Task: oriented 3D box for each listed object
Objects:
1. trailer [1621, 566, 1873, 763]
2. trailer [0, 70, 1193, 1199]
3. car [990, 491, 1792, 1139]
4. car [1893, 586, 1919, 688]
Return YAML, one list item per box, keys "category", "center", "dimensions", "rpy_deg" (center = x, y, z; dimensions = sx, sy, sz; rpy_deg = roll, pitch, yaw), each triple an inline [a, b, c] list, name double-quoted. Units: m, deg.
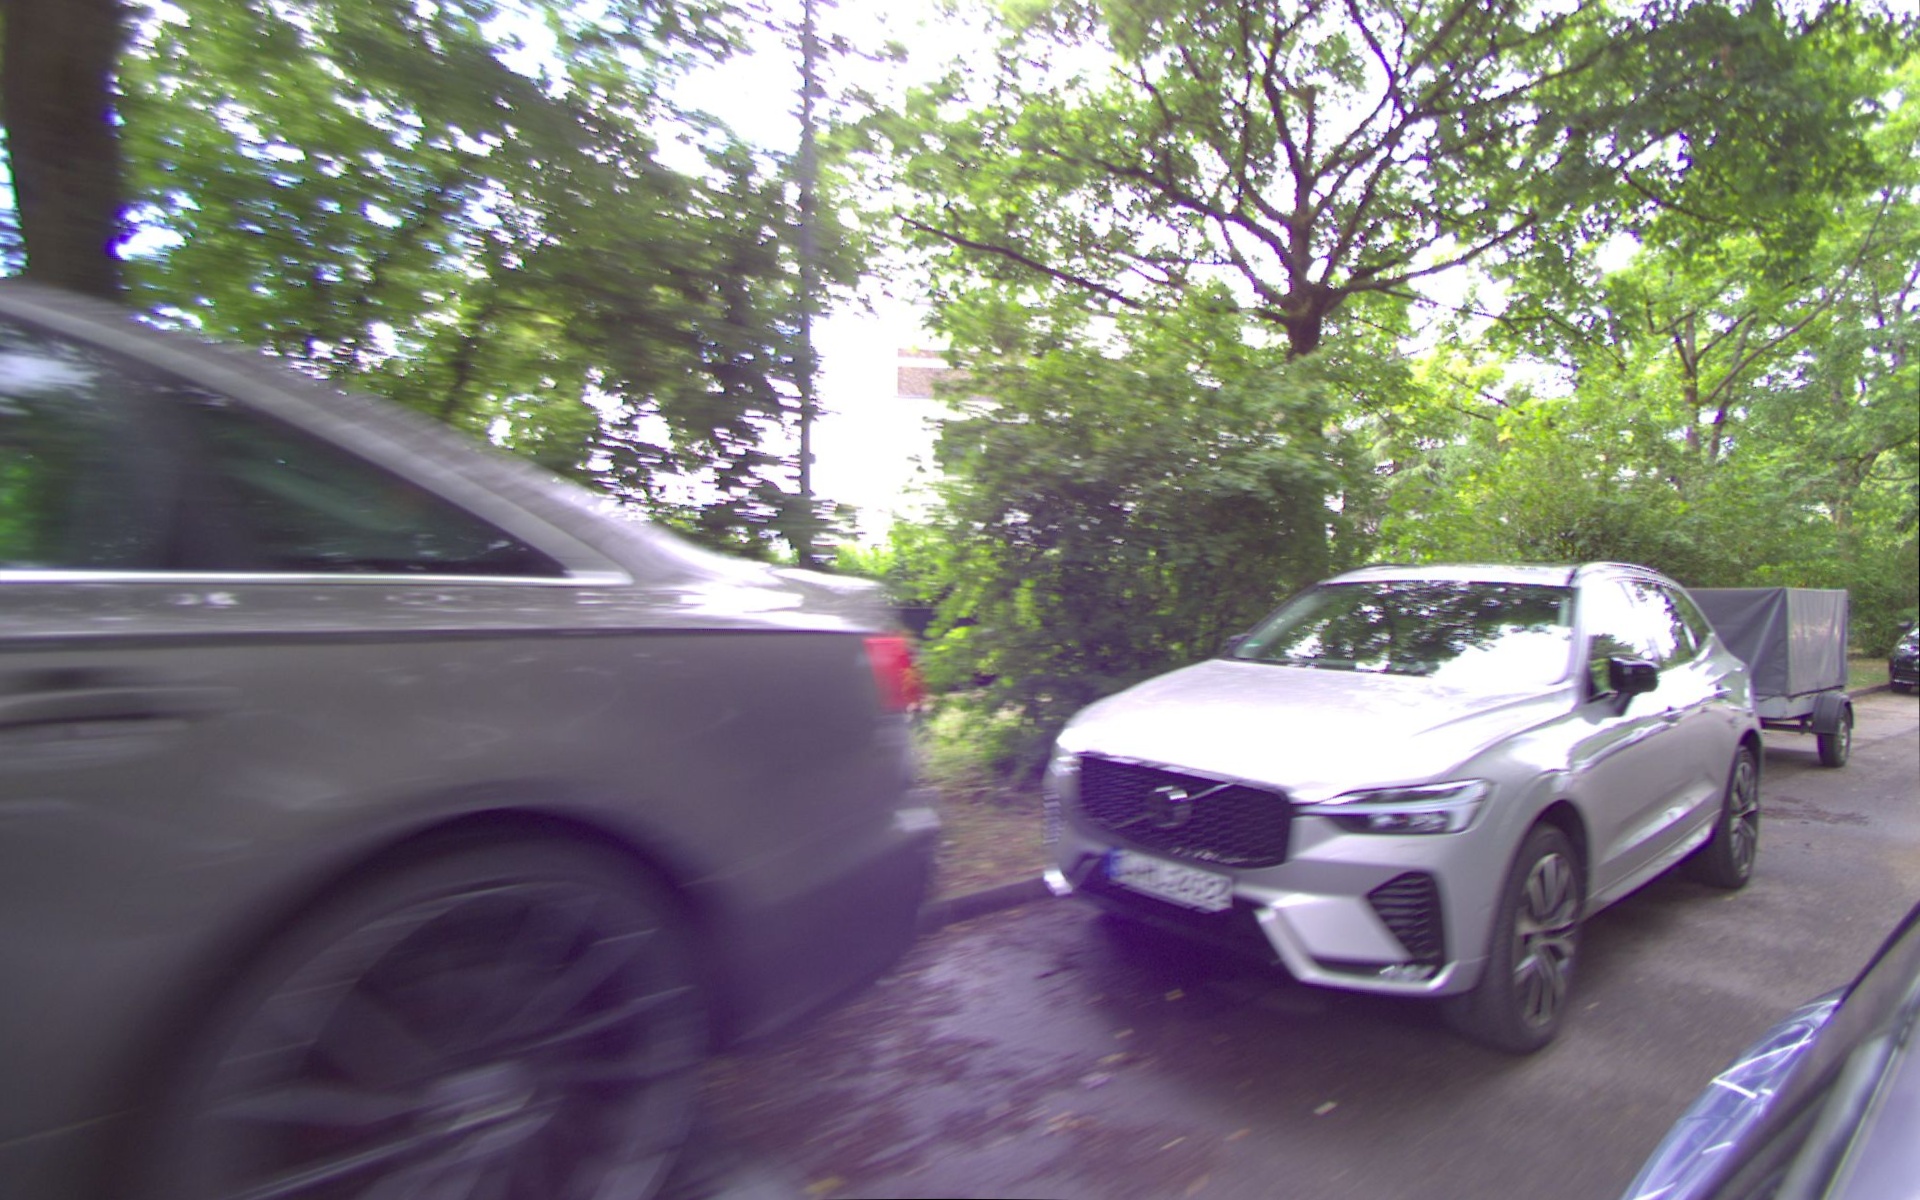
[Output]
- category: "trailer"
  center: [7.397, 0.509, 9.477]
  dimensions: [2.415, 1.605, 1.282]
  rpy_deg: [0, 0, -37]
- category: "trailer"
  center: [-2.088, 0.413, 1.206]
  dimensions: [5.057, 1.834, 1.983]
  rpy_deg: [0, 1, -40]
- category: "car"
  center: [2.361, 0.479, 4.783]
  dimensions: [4.425, 1.691, 1.795]
  rpy_deg: [-2, 2, -42]
- category: "car"
  center: [15.820, 0.513, 15.420]
  dimensions: [3.845, 1.471, 1.725]
  rpy_deg: [-1, 0, -37]
